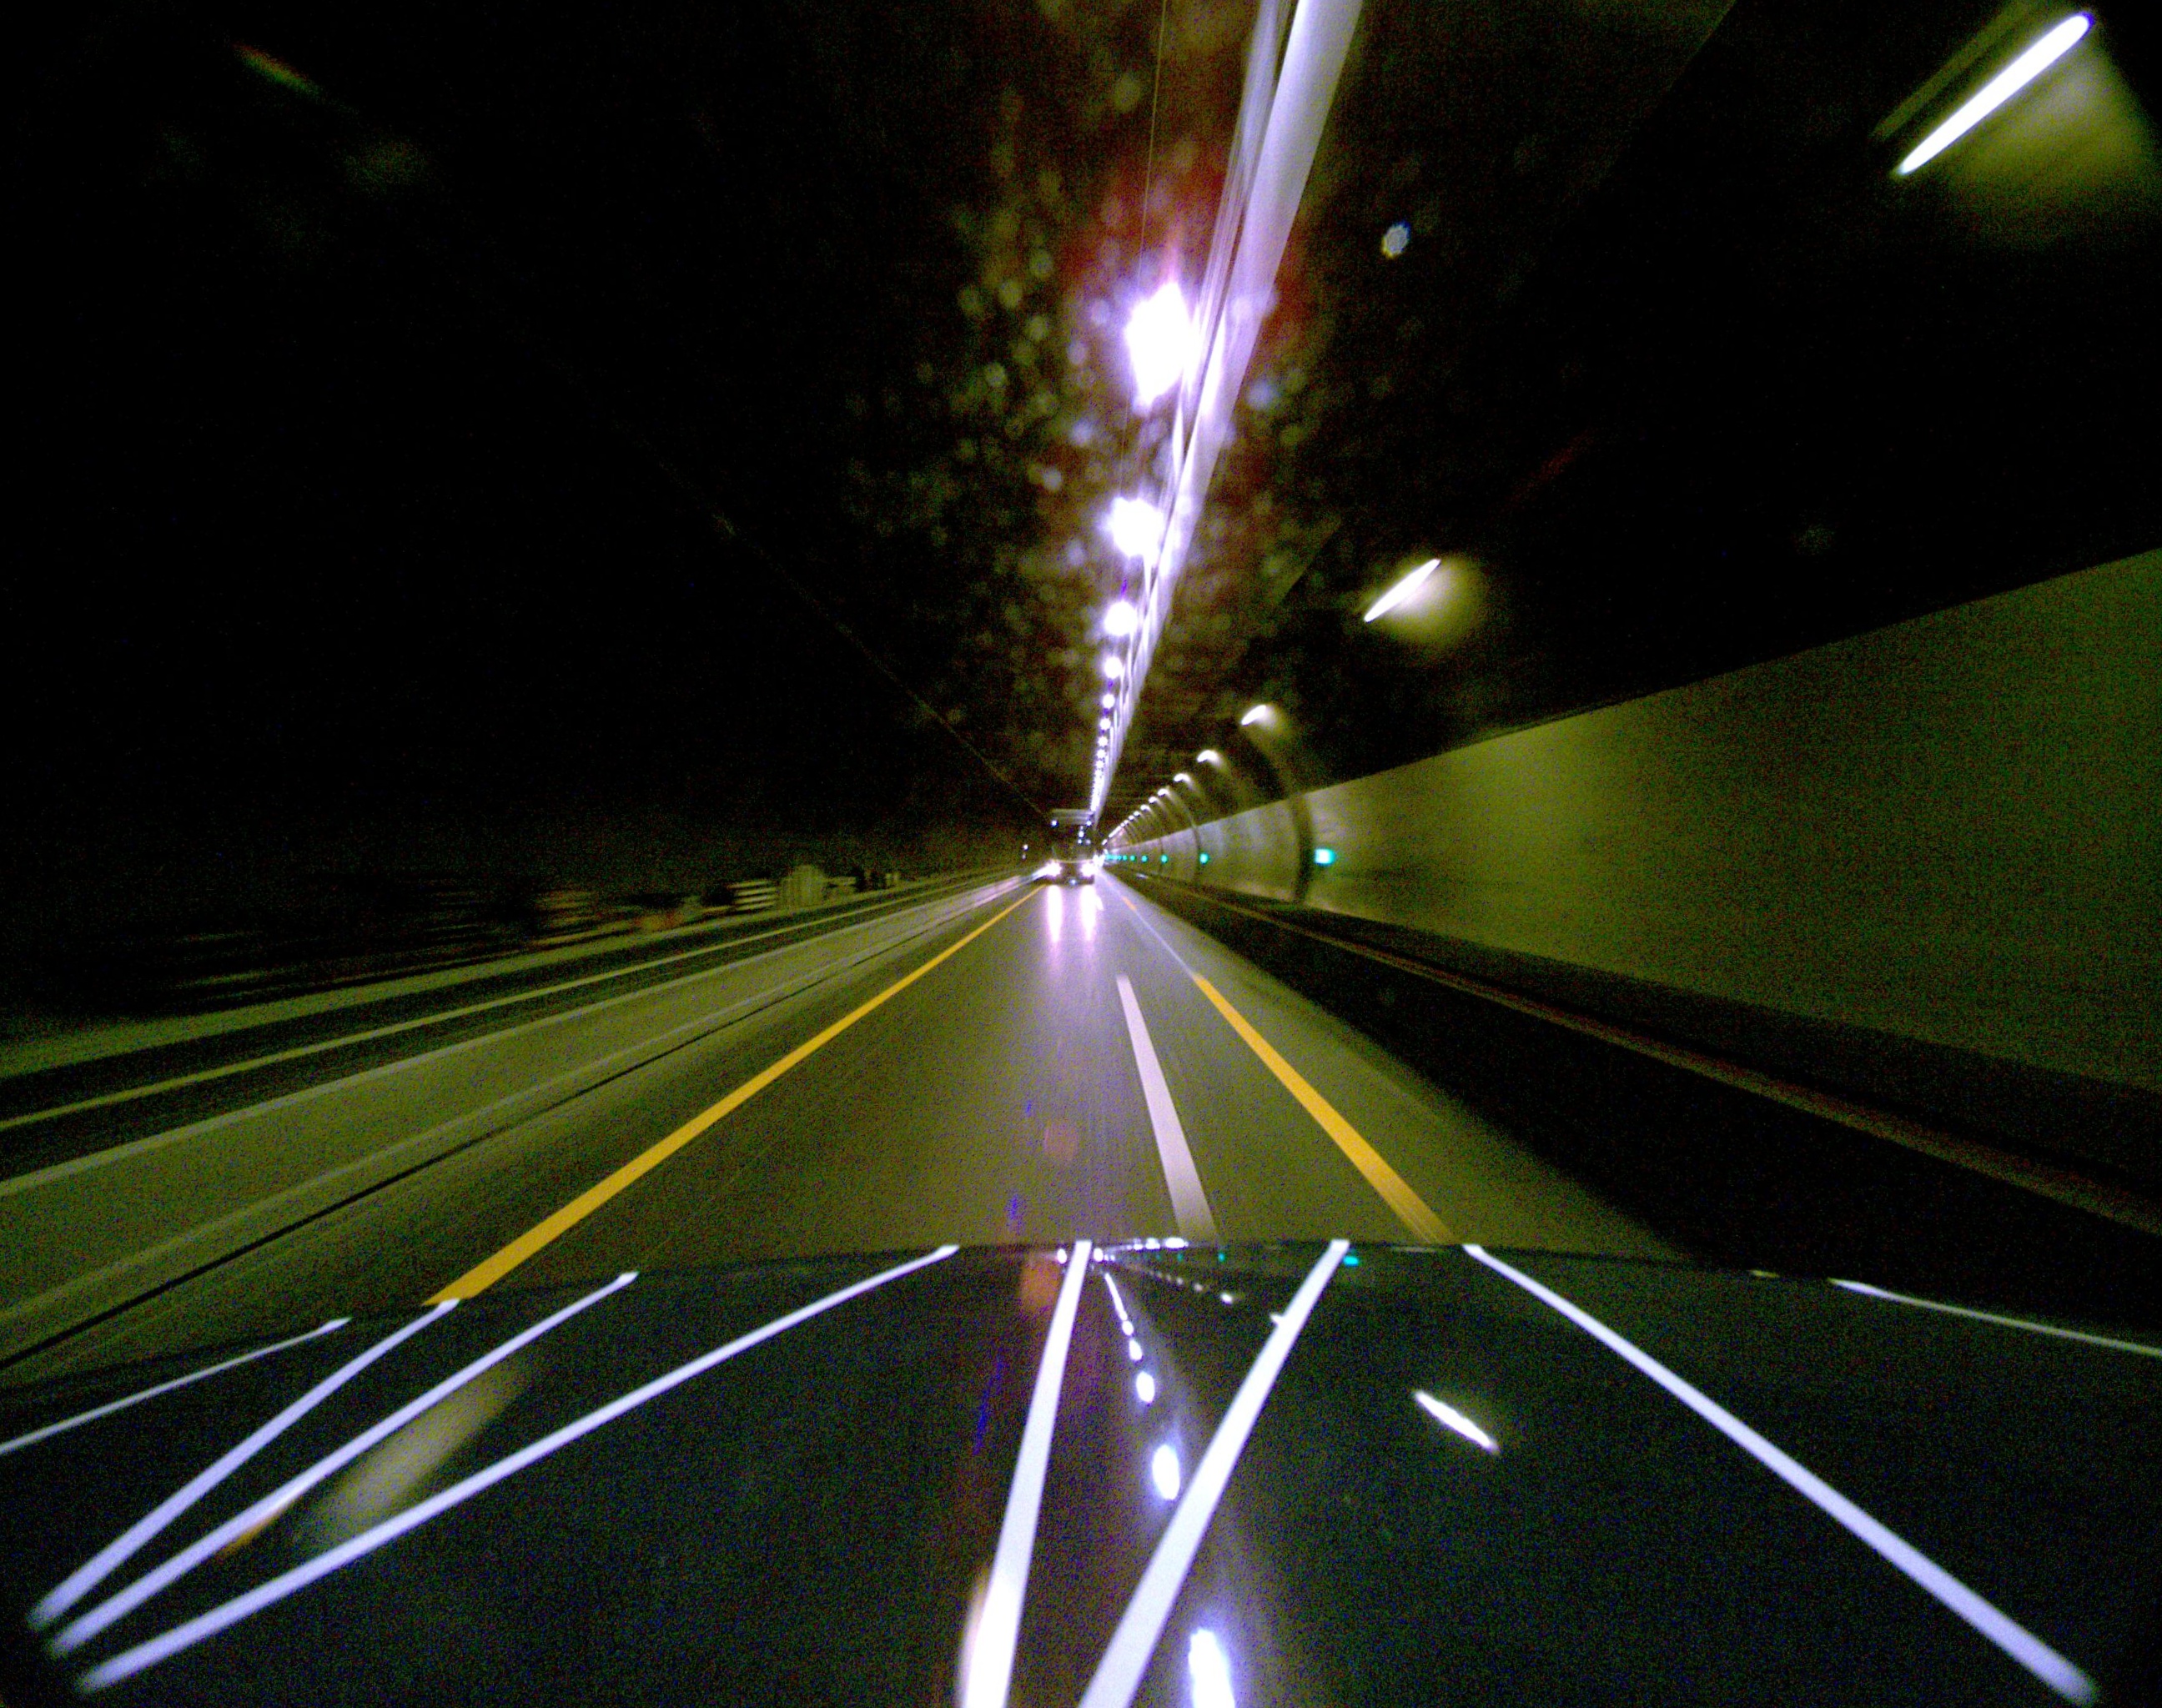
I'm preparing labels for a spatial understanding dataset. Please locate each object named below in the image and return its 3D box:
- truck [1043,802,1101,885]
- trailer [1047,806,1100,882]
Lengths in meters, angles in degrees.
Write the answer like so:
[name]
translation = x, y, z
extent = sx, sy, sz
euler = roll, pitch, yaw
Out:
[truck]
translation = -0.427, -0.587, 43.527
extent = 2.950, 4.338, 6.675
euler = -2, 1, 1
[trailer]
translation = -0.330, -0.663, 48.976
extent = 2.939, 4.316, 10.051
euler = -2, 1, 1
